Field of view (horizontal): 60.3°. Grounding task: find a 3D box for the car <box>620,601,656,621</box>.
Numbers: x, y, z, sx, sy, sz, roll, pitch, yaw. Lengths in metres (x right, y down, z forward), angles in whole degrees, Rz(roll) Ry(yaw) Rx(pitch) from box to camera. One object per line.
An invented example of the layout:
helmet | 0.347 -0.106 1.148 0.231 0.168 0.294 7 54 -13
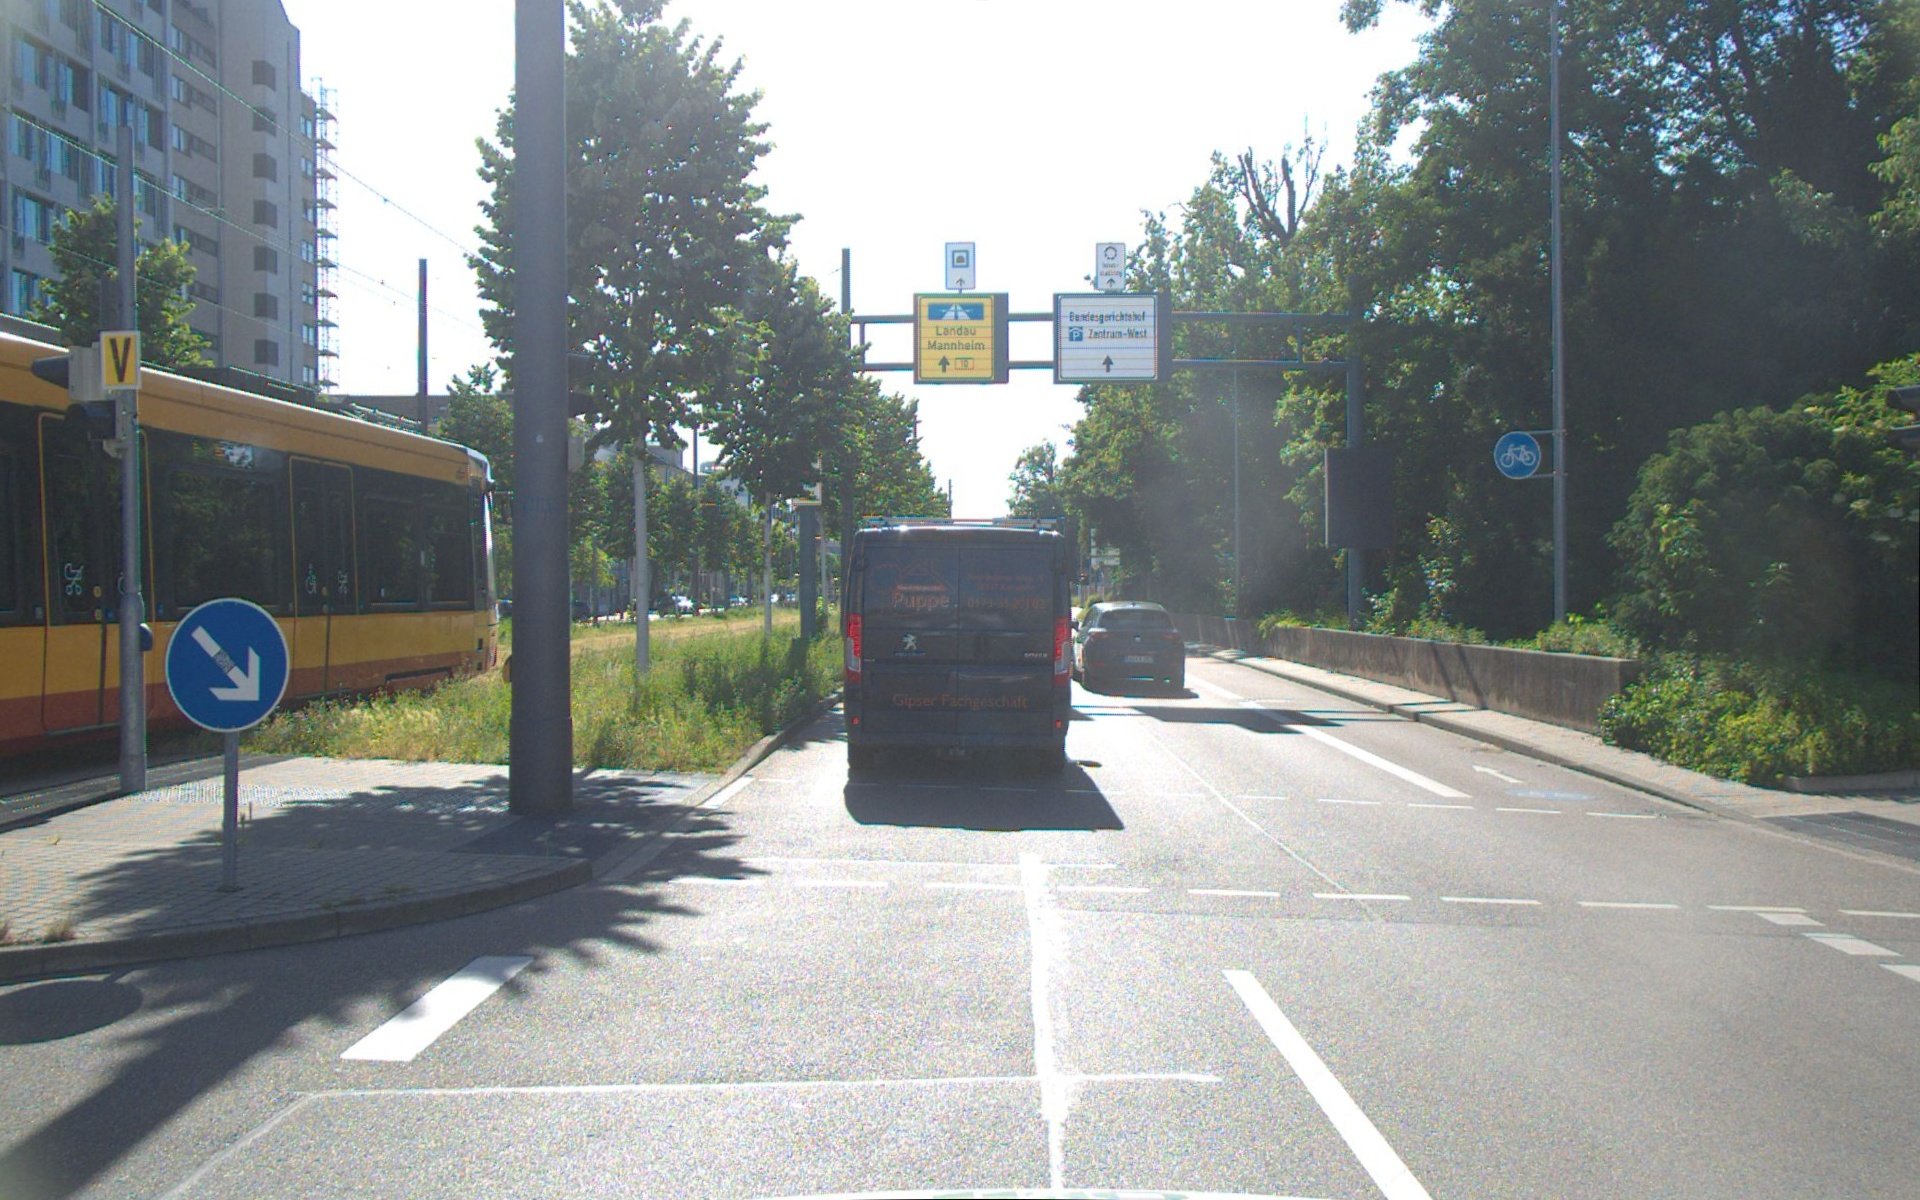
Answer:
car | -25.515 0.859 131.007 1.952 1.579 4.001 1 0 2

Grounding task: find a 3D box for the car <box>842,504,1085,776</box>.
car | 0.036 0.339 16.034 2.039 2.288 4.000 1 0 0

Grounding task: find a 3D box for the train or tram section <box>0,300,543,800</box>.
train or tram section | -7.366 -0.381 18.218 1.952 3.733 11.688 1 0 3

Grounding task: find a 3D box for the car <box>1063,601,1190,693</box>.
car | 2.855 0.768 29.061 1.727 1.488 3.999 1 0 -1

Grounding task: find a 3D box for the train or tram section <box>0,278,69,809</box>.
train or tram section | -7.986 -0.404 6.794 1.952 3.733 11.320 1 0 3
